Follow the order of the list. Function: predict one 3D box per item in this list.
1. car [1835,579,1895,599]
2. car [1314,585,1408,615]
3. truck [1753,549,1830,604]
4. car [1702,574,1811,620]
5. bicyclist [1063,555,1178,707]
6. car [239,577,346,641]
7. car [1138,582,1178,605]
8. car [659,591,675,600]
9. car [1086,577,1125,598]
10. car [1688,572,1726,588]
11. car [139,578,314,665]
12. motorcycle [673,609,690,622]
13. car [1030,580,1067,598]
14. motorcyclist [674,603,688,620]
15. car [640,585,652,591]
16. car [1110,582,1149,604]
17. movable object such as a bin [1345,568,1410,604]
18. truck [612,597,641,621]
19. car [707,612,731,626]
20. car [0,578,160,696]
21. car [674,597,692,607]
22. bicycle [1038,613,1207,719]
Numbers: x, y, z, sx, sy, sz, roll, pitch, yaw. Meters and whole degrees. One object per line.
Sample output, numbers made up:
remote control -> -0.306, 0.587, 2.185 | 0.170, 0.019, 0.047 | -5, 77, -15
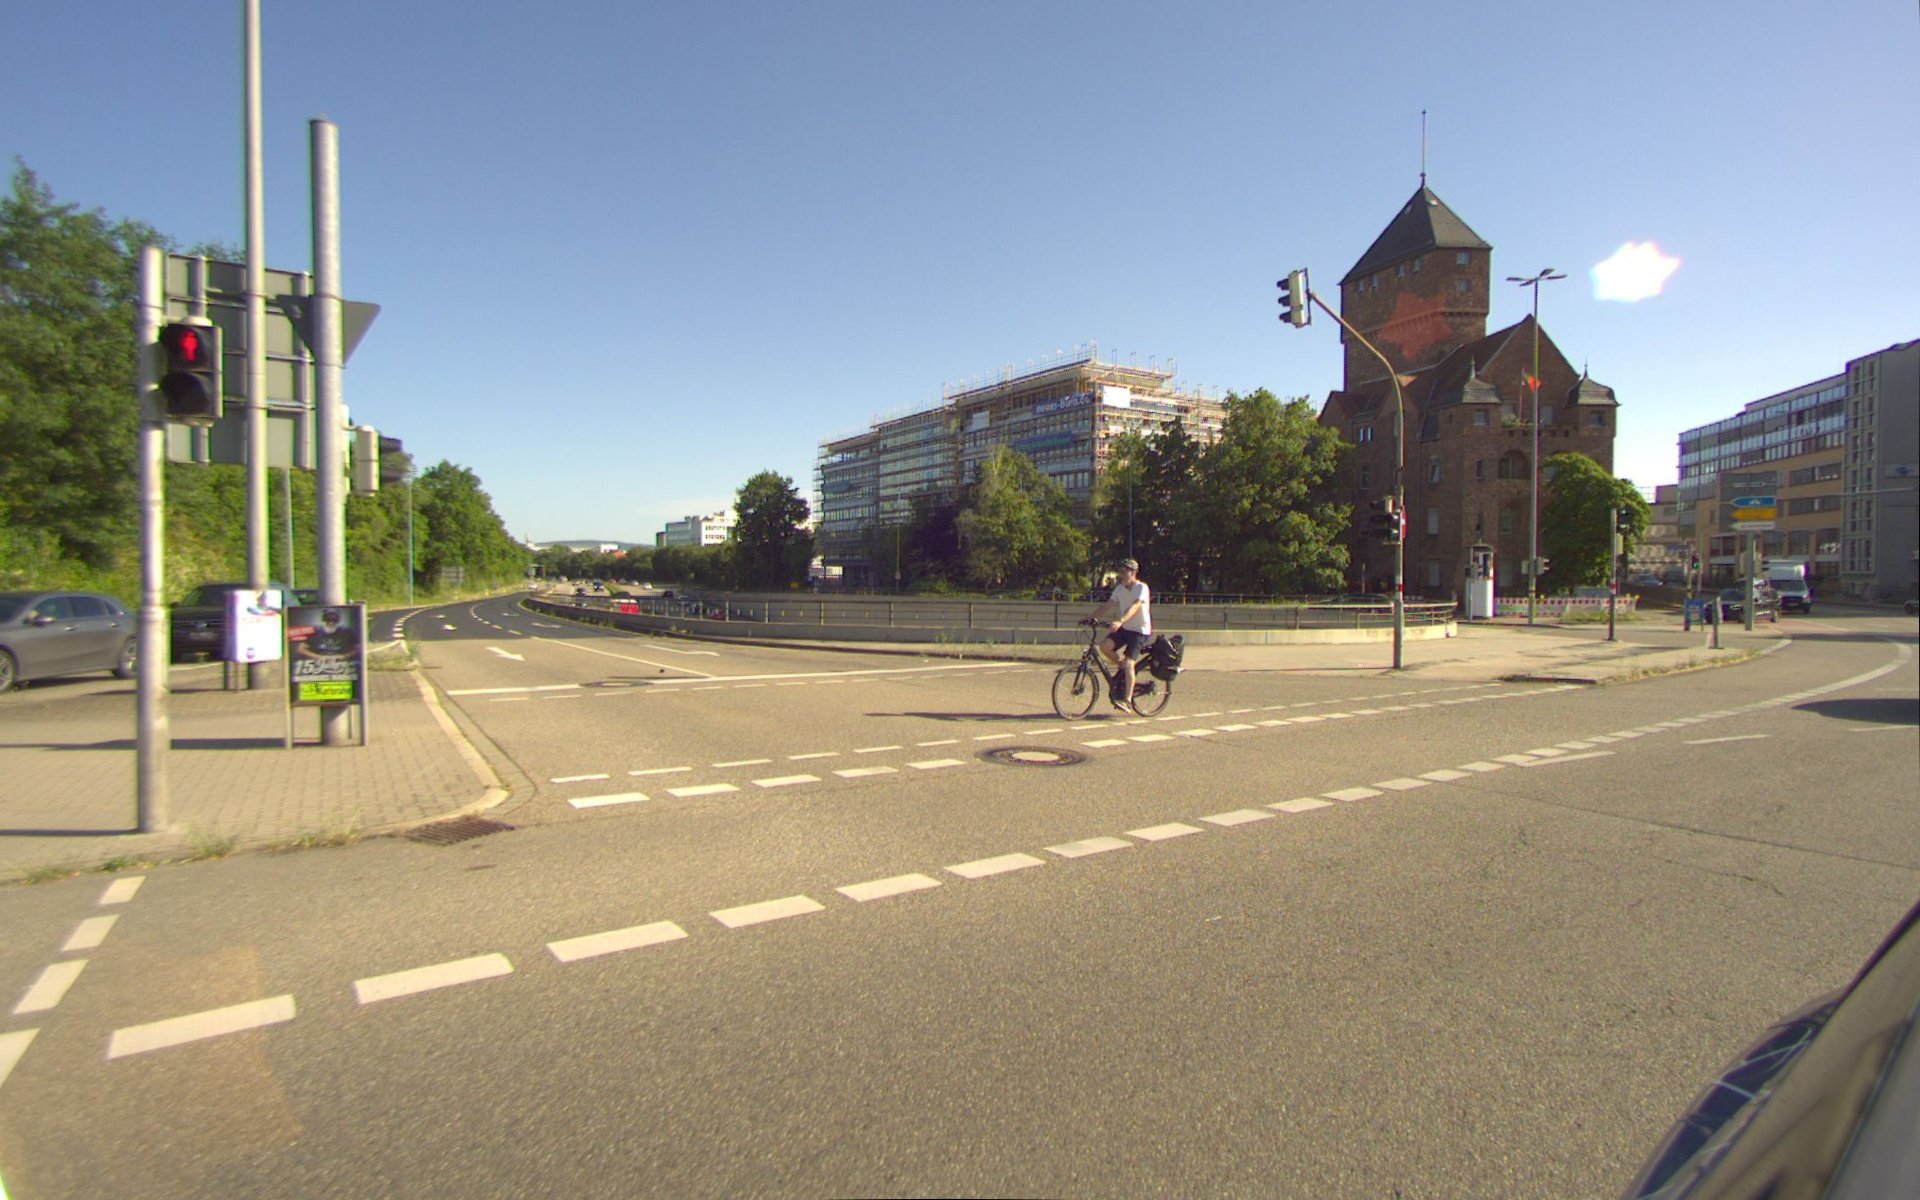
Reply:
car -> 73.184, -0.892, 81.942 | 1.852, 1.542, 4.144 | 0, 1, 13
car -> 21.627, -0.026, 54.616 | 4.592, 1.489, 1.863 | 1, 2, 28
truck -> 51.189, -1.451, 62.491 | 2.483, 3.167, 6.888 | 1, 1, 29
car -> 40.528, -0.171, 51.499 | 4.684, 2.289, 1.956 | 0, 1, -16
bicyclist -> 1.846, 0.332, 11.697 | 1.089, 1.680, 0.728 | -1, 0, -15
car -> -18.753, 0.170, 28.648 | 1.822, 1.636, 4.687 | 0, 1, -24
car -> 14.124, -0.475, 72.144 | 1.979, 1.581, 3.750 | 1, 1, 25
car -> -52.773, -0.854, 182.309 | 1.959, 1.415, 4.006 | -3, 2, -26
car -> 11.275, -0.957, 78.132 | 1.979, 1.581, 3.750 | 1, 1, 25
car -> 79.089, -2.100, 107.227 | 1.973, 1.526, 3.979 | -1, 2, 17
car -> -15.510, 0.358, 21.695 | 1.822, 1.636, 4.688 | 0, 1, -20
motorcycle -> -34.745, 1.947, 126.277 | 1.261, 1.532, 3.576 | 0, 0, -28
car -> 7.502, -0.927, 85.249 | 1.979, 1.472, 3.750 | 1, 1, 25
motorcyclist -> -34.800, 1.429, 126.303 | 1.503, 2.039, 1.214 | 0, 0, -28
car -> -75.031, -2.929, 241.759 | 1.959, 1.415, 4.006 | -3, 2, -26
car -> 12.541, -0.537, 74.739 | 1.979, 1.581, 3.750 | 1, 1, 25
movable object such as a bin -> 28.951, -0.971, 70.240 | 1.958, 2.439, 4.009 | 0, 1, -20
truck -> -36.060, 0.919, 109.467 | 2.240, 2.416, 5.393 | -3, 2, -26
car -> -29.349, 2.317, 123.180 | 1.959, 1.415, 4.006 | -3, 2, -26
car -> -14.027, 0.471, 14.800 | 1.823, 1.571, 4.252 | 0, 1, -9
car -> -43.371, 0.332, 158.563 | 1.959, 1.415, 4.006 | -3, 2, -26
bicycle -> 1.869, 0.734, 11.701 | 1.788, 1.116, 0.695 | -1, 0, -15
